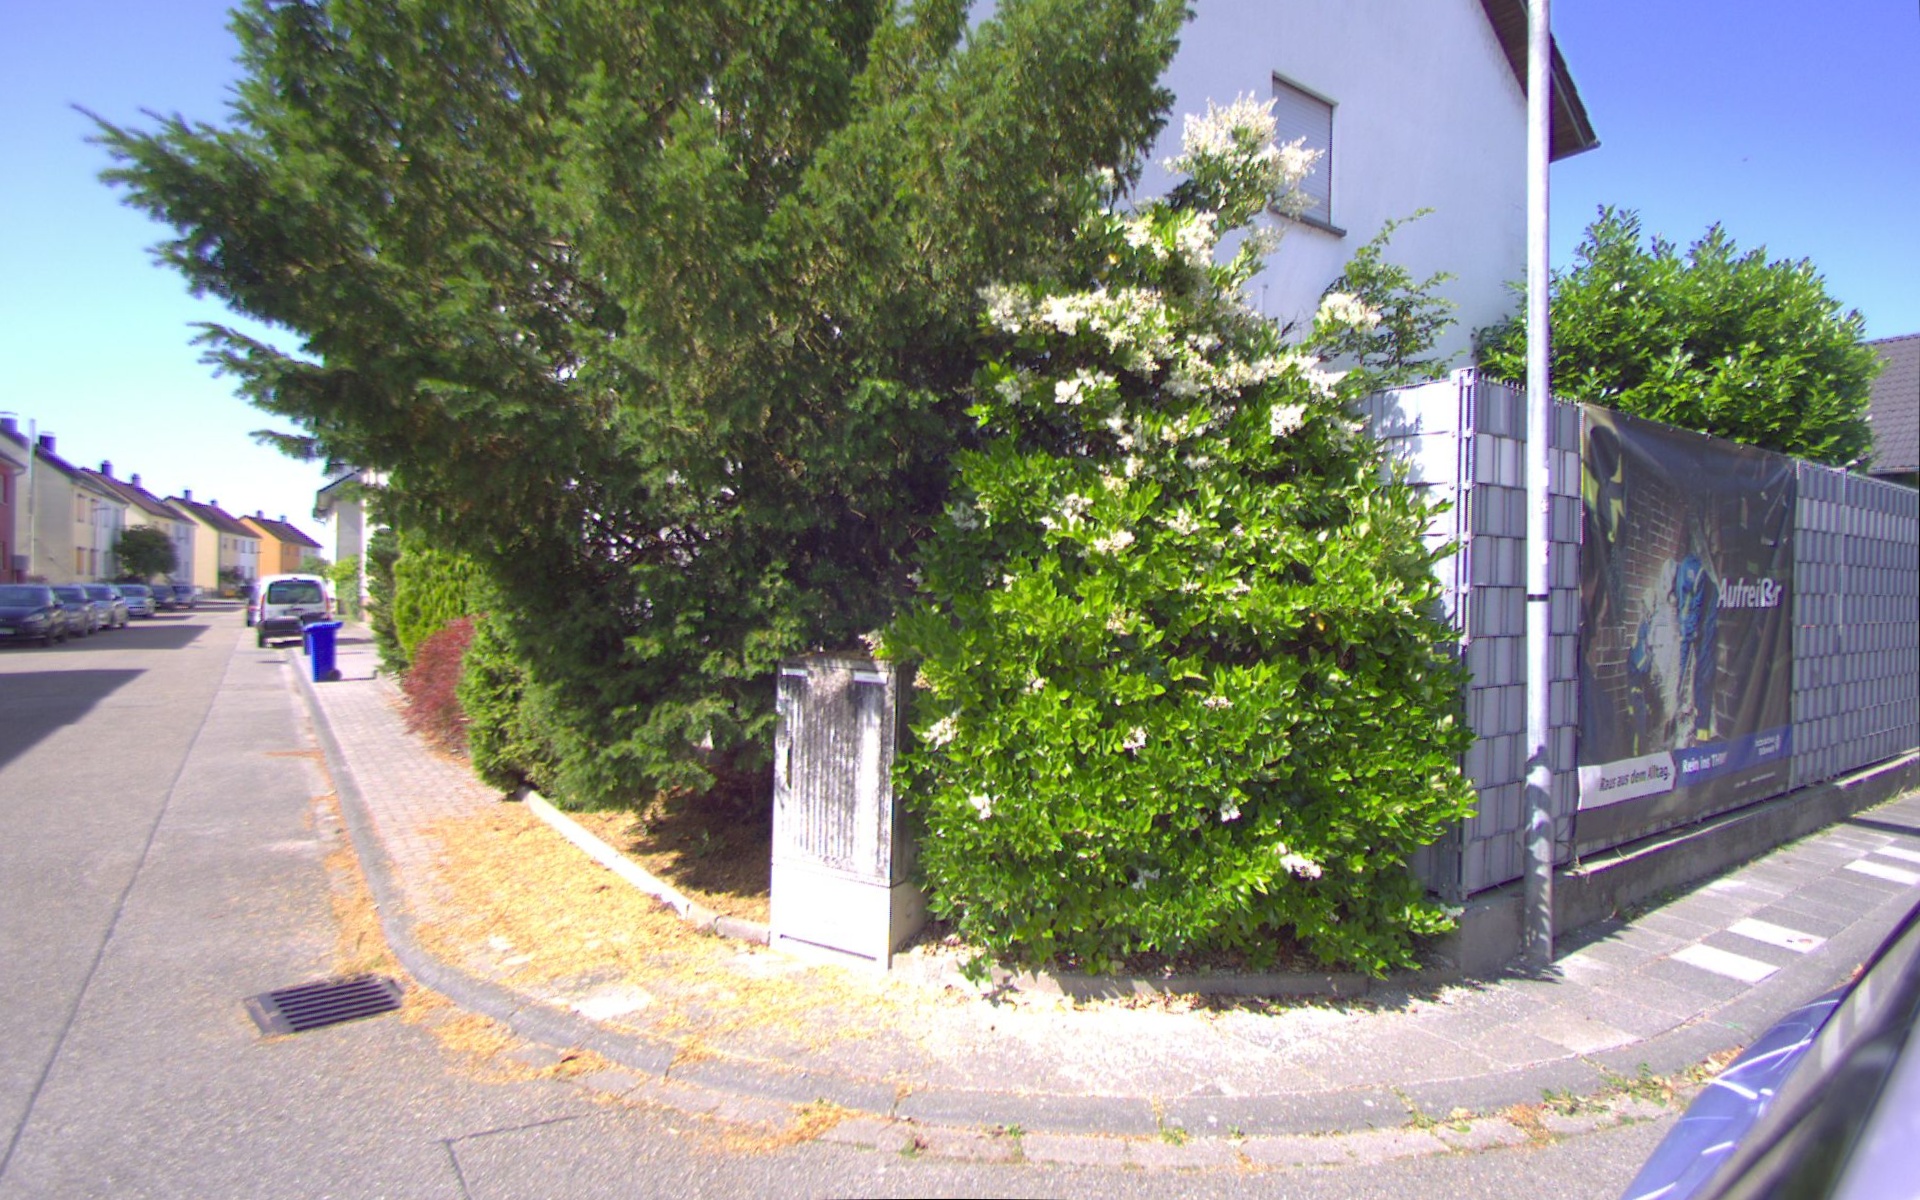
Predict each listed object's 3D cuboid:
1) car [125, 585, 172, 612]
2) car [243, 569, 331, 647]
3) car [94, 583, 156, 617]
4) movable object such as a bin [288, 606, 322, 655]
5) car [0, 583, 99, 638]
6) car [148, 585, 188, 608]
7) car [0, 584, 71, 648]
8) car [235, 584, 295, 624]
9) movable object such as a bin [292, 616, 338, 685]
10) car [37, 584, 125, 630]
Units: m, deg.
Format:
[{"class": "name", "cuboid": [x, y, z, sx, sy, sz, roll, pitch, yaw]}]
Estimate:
[{"class": "car", "cuboid": [-44.616, -0.116, 55.690, 1.763, 1.428, 3.999, 1, 0, -35]}, {"class": "car", "cuboid": [-17.597, 0.158, 26.490, 1.762, 1.861, 4.001, -2, 1, -34]}, {"class": "car", "cuboid": [-36.672, -0.002, 44.512, 1.763, 1.428, 3.999, 1, 0, -35]}, {"class": "movable object such as a bin", "cuboid": [-14.352, 0.668, 22.167, 0.592, 1.043, 0.596, 1, -1, -35]}, {"class": "car", "cuboid": [-25.777, 0.250, 28.634, 1.763, 1.428, 3.999, 1, 0, -35]}, {"class": "car", "cuboid": [-50.041, -0.244, 63.965, 1.763, 1.428, 3.999, 1, 0, -35]}, {"class": "car", "cuboid": [-22.900, 0.344, 24.401, 1.763, 1.428, 3.999, 1, 0, -35]}, {"class": "car", "cuboid": [-26.156, 0.132, 38.135, 1.762, 1.399, 4.001, -2, 1, -34]}, {"class": "movable object such as a bin", "cuboid": [-10.211, 0.784, 16.018, 0.592, 1.043, 0.596, 1, -1, -35]}, {"class": "car", "cuboid": [-28.815, 0.194, 33.276, 1.763, 1.428, 3.999, 1, 0, -35]}]
